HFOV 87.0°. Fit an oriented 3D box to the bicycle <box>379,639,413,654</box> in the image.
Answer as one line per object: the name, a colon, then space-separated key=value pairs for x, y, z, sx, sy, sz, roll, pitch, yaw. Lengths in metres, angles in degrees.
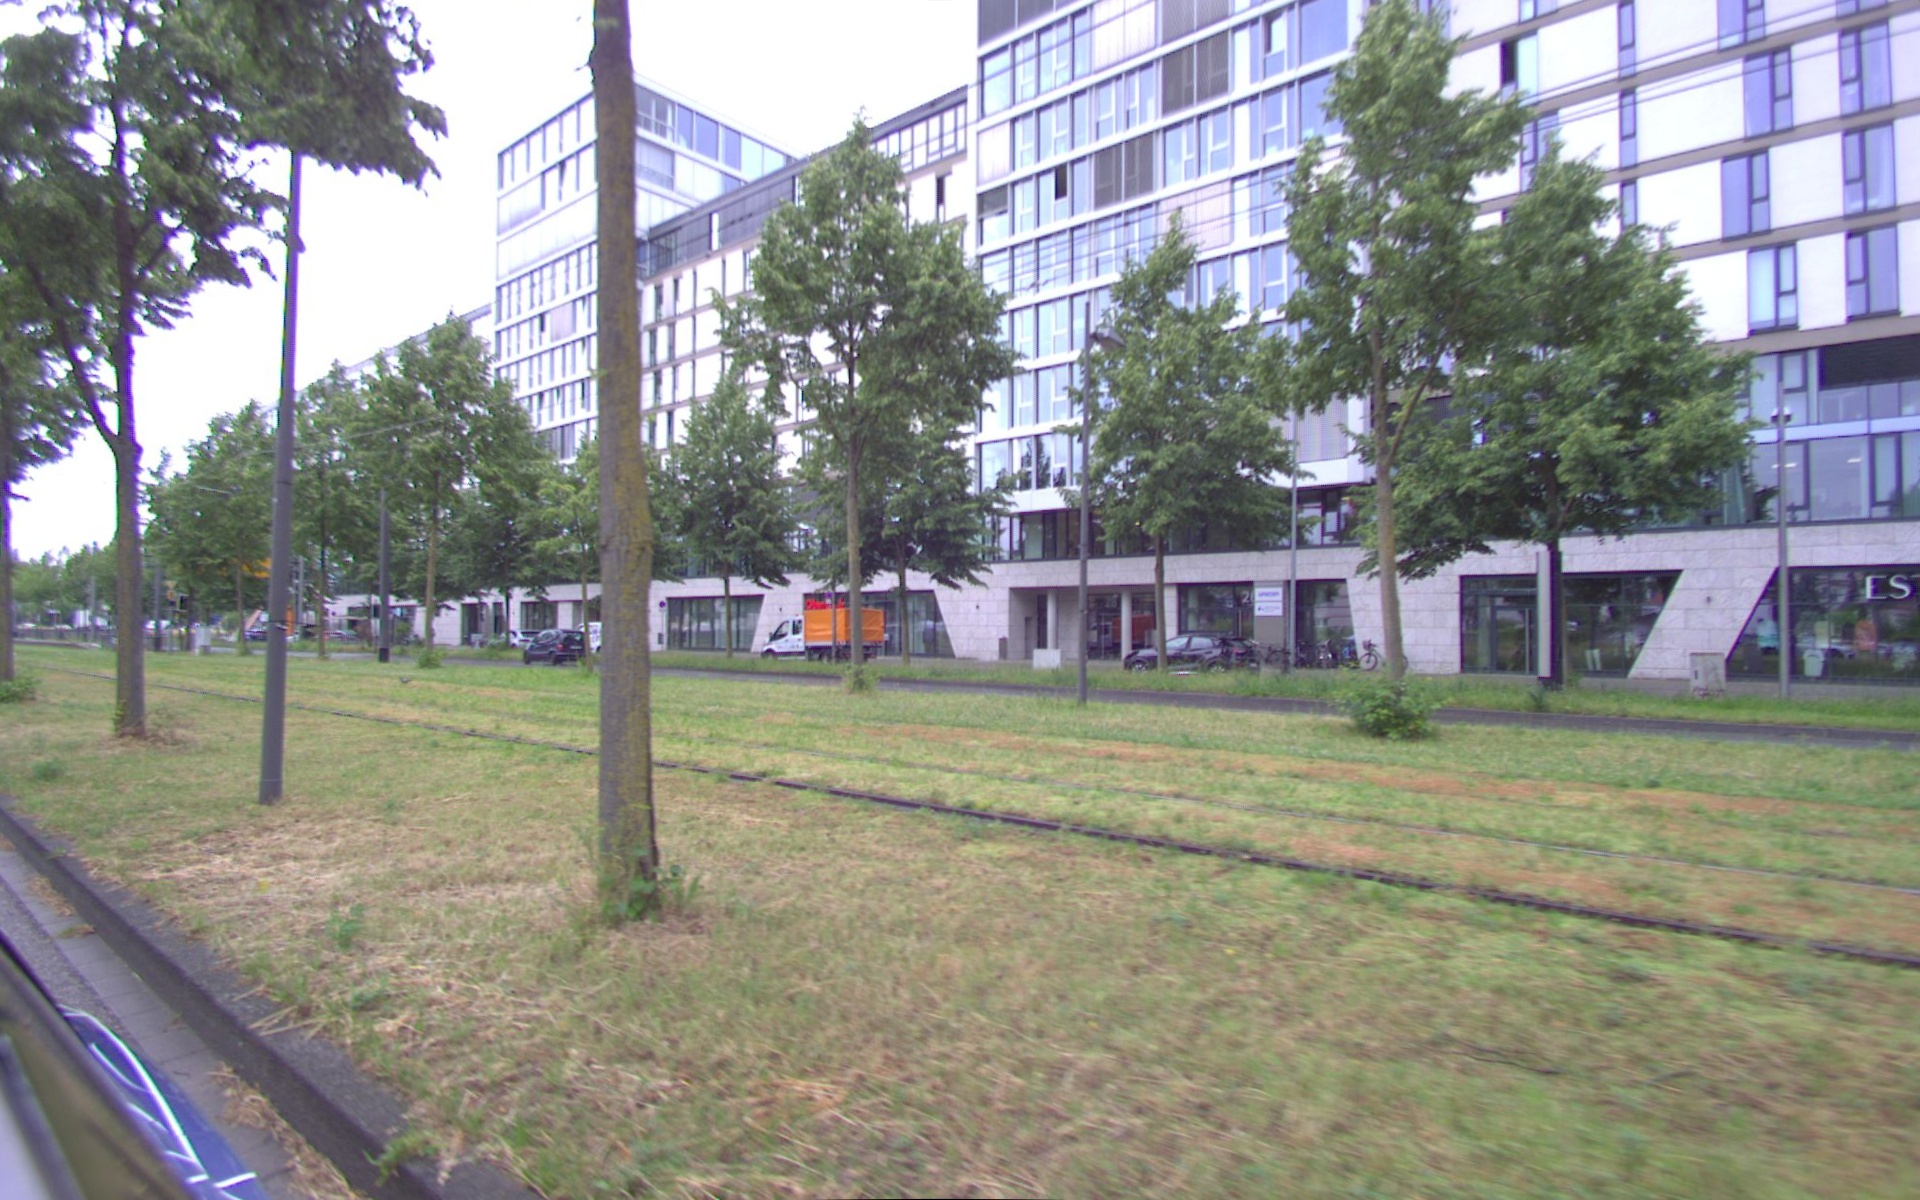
bicycle: x=-38.825 y=3.195 z=69.659 sx=0.696 sy=1.042 sz=1.957 roll=-2 pitch=-2 yaw=42

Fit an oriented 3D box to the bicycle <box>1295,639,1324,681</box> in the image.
bicycle: x=12.967 y=2.208 z=37.510 sx=0.546 sy=1.494 sz=1.418 roll=-1 pitch=-2 yaw=39

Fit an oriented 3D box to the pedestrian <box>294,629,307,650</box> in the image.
pedestrian: x=-54.209 y=3.221 z=83.186 sx=0.793 sy=1.704 sz=0.703 roll=-2 pitch=-2 yaw=43

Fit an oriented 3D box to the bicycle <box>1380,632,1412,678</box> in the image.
bicycle: x=15.366 y=1.928 z=35.673 sx=0.606 sy=1.550 sz=1.552 roll=-1 pitch=-2 yaw=39

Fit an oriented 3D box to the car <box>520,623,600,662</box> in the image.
car: x=-17.803 y=1.871 z=44.943 sx=3.701 sy=1.669 sz=1.971 roll=-2 pitch=-2 yaw=45

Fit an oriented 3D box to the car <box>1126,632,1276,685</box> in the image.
car: x=7.155 y=1.695 z=30.274 sx=3.985 sy=1.476 sz=1.836 roll=-1 pitch=-2 yaw=40

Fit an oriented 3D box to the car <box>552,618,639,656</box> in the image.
car: x=-19.160 y=1.914 z=53.144 sx=5.160 sy=1.866 sz=1.973 roll=-1 pitch=-2 yaw=40

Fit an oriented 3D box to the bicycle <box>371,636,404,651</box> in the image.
bicycle: x=-40.580 y=3.050 z=71.737 sx=0.696 sy=1.042 sz=1.957 roll=-2 pitch=-2 yaw=42

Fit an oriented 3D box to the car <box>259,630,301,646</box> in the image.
car: x=-56.893 y=3.170 z=84.678 sx=4.069 sy=1.298 sz=1.972 roll=-1 pitch=-2 yaw=42

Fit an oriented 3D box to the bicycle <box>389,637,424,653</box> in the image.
bicycle: x=-37.479 y=3.012 z=68.508 sx=0.696 sy=1.042 sz=1.957 roll=-2 pitch=-2 yaw=42

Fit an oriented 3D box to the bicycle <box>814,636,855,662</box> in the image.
bicycle: x=-4.761 y=1.864 z=38.375 sx=1.757 sy=0.952 sz=0.592 roll=-2 pitch=-2 yaw=44

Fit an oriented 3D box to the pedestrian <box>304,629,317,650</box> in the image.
pedestrian: x=-53.835 y=3.276 z=83.883 sx=0.793 sy=1.704 sz=0.703 roll=-2 pitch=-2 yaw=43

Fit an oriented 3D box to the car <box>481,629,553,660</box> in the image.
car: x=-25.665 y=2.539 z=58.577 sx=4.460 sy=1.725 sz=2.123 roll=-1 pitch=-2 yaw=40

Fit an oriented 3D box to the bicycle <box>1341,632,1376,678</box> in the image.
bicycle: x=14.279 y=1.949 z=36.262 sx=0.680 sy=1.550 sz=1.686 roll=-1 pitch=-2 yaw=39

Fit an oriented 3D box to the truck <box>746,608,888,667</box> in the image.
truck: x=-6.099 y=1.537 z=42.599 sx=6.304 sy=2.309 sz=2.401 roll=-1 pitch=-2 yaw=40
